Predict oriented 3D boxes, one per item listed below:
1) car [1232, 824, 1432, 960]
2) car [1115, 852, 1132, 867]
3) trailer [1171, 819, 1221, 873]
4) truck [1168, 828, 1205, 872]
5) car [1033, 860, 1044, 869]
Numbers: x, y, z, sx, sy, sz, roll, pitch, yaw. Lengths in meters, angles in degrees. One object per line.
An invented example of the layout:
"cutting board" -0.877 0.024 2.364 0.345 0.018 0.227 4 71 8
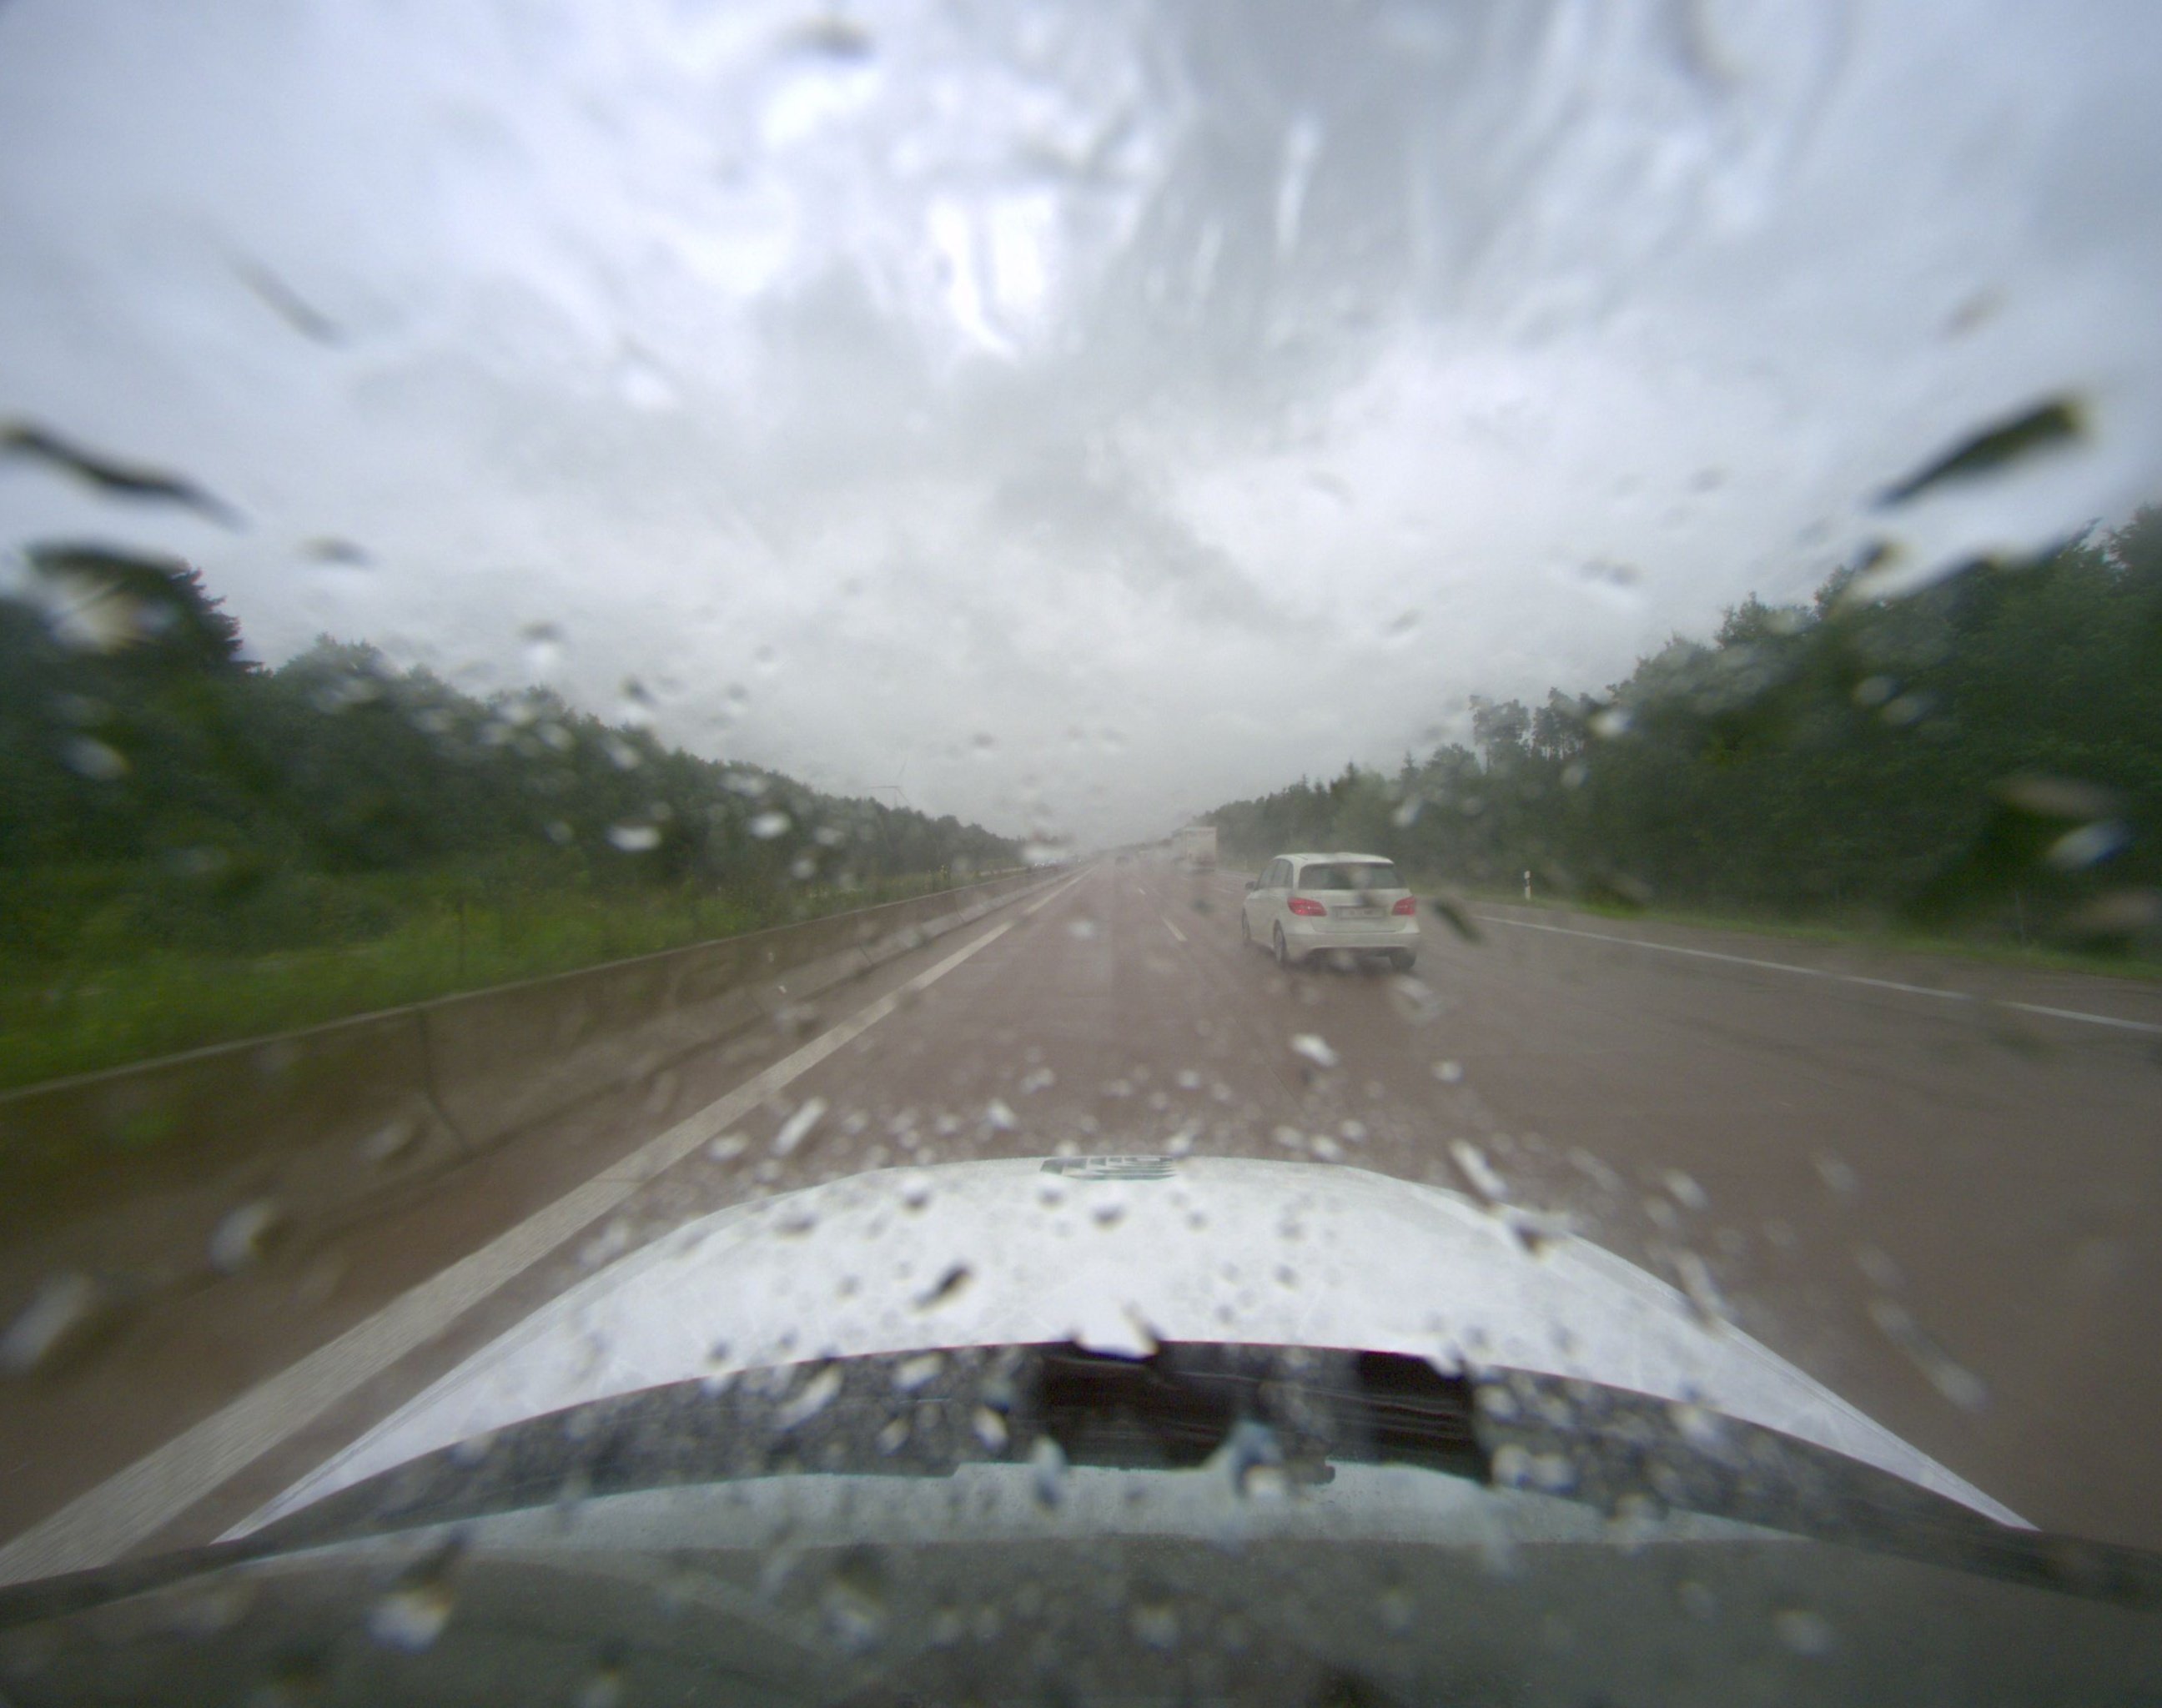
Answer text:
"car" 3.628 0.490 12.732 1.801 1.728 4.745 0 0 2
"car" 5.907 0.729 113.228 2.165 1.981 4.132 1 0 2
"trailer" 10.083 -0.673 72.862 2.842 4.231 13.136 -3 0 1
"truck" 10.315 -0.403 80.147 2.870 4.106 6.352 -2 0 2
"car" -7.632 1.843 146.869 1.802 1.631 4.504 1 0 0
